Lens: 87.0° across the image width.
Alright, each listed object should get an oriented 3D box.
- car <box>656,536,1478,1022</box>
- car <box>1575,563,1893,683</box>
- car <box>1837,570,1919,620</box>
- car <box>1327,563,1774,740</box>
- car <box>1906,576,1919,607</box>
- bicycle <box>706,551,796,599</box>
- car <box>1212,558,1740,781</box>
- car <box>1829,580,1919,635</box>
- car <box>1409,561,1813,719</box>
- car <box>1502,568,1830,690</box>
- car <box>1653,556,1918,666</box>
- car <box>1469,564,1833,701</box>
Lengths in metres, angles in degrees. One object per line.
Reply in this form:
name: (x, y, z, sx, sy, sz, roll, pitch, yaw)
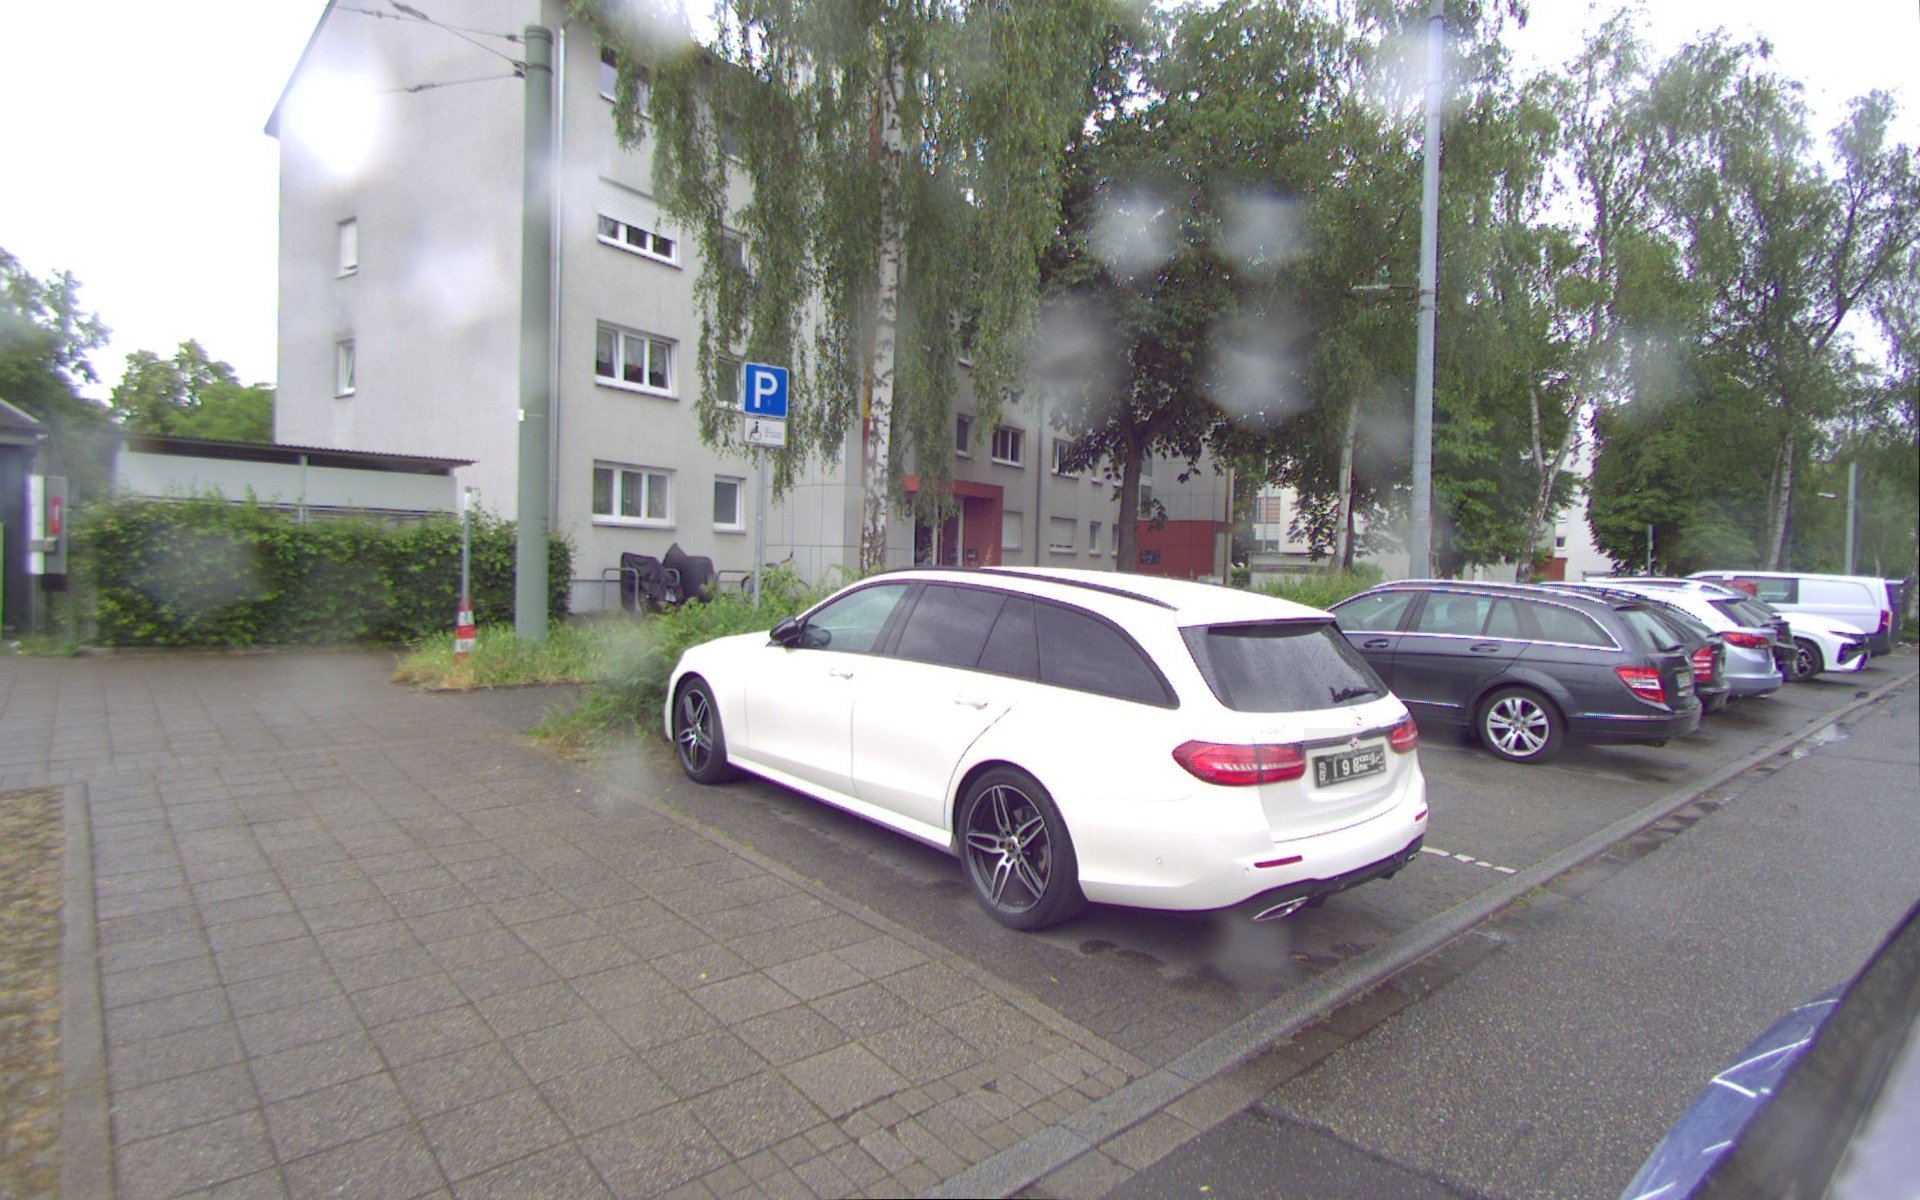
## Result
car: (0.087, 0.474, 5.603, 1.651, 1.456, 4.623, -1, 5, -41)
car: (13.711, 0.301, 18.156, 1.651, 1.637, 4.181, 0, 5, -40)
car: (37.803, -0.209, 40.325, 1.866, 1.937, 3.998, -1, 0, -36)
car: (6.530, 0.420, 11.537, 1.653, 1.456, 4.044, -1, 5, -43)
car: (53.225, -0.460, 53.811, 1.866, 1.701, 3.998, -1, 1, -36)
bicycle: (-4.518, -0.527, 21.972, 0.701, 1.005, 1.918, 0, 0, 37)
car: (4.598, 0.443, 9.493, 1.653, 1.456, 4.044, -1, 5, -43)
car: (34.474, 0.254, 36.838, 1.866, 1.937, 3.998, -1, 0, -36)
car: (8.201, 0.371, 13.037, 1.653, 1.514, 4.044, -1, 5, -43)
car: (11.286, 0.356, 16.387, 1.653, 1.514, 4.044, -1, 5, -43)
car: (17.546, 0.136, 21.669, 4.172, 1.888, 1.654, 7, 6, 43)
car: (9.870, 0.342, 14.702, 1.653, 1.514, 4.044, -1, 5, -43)
